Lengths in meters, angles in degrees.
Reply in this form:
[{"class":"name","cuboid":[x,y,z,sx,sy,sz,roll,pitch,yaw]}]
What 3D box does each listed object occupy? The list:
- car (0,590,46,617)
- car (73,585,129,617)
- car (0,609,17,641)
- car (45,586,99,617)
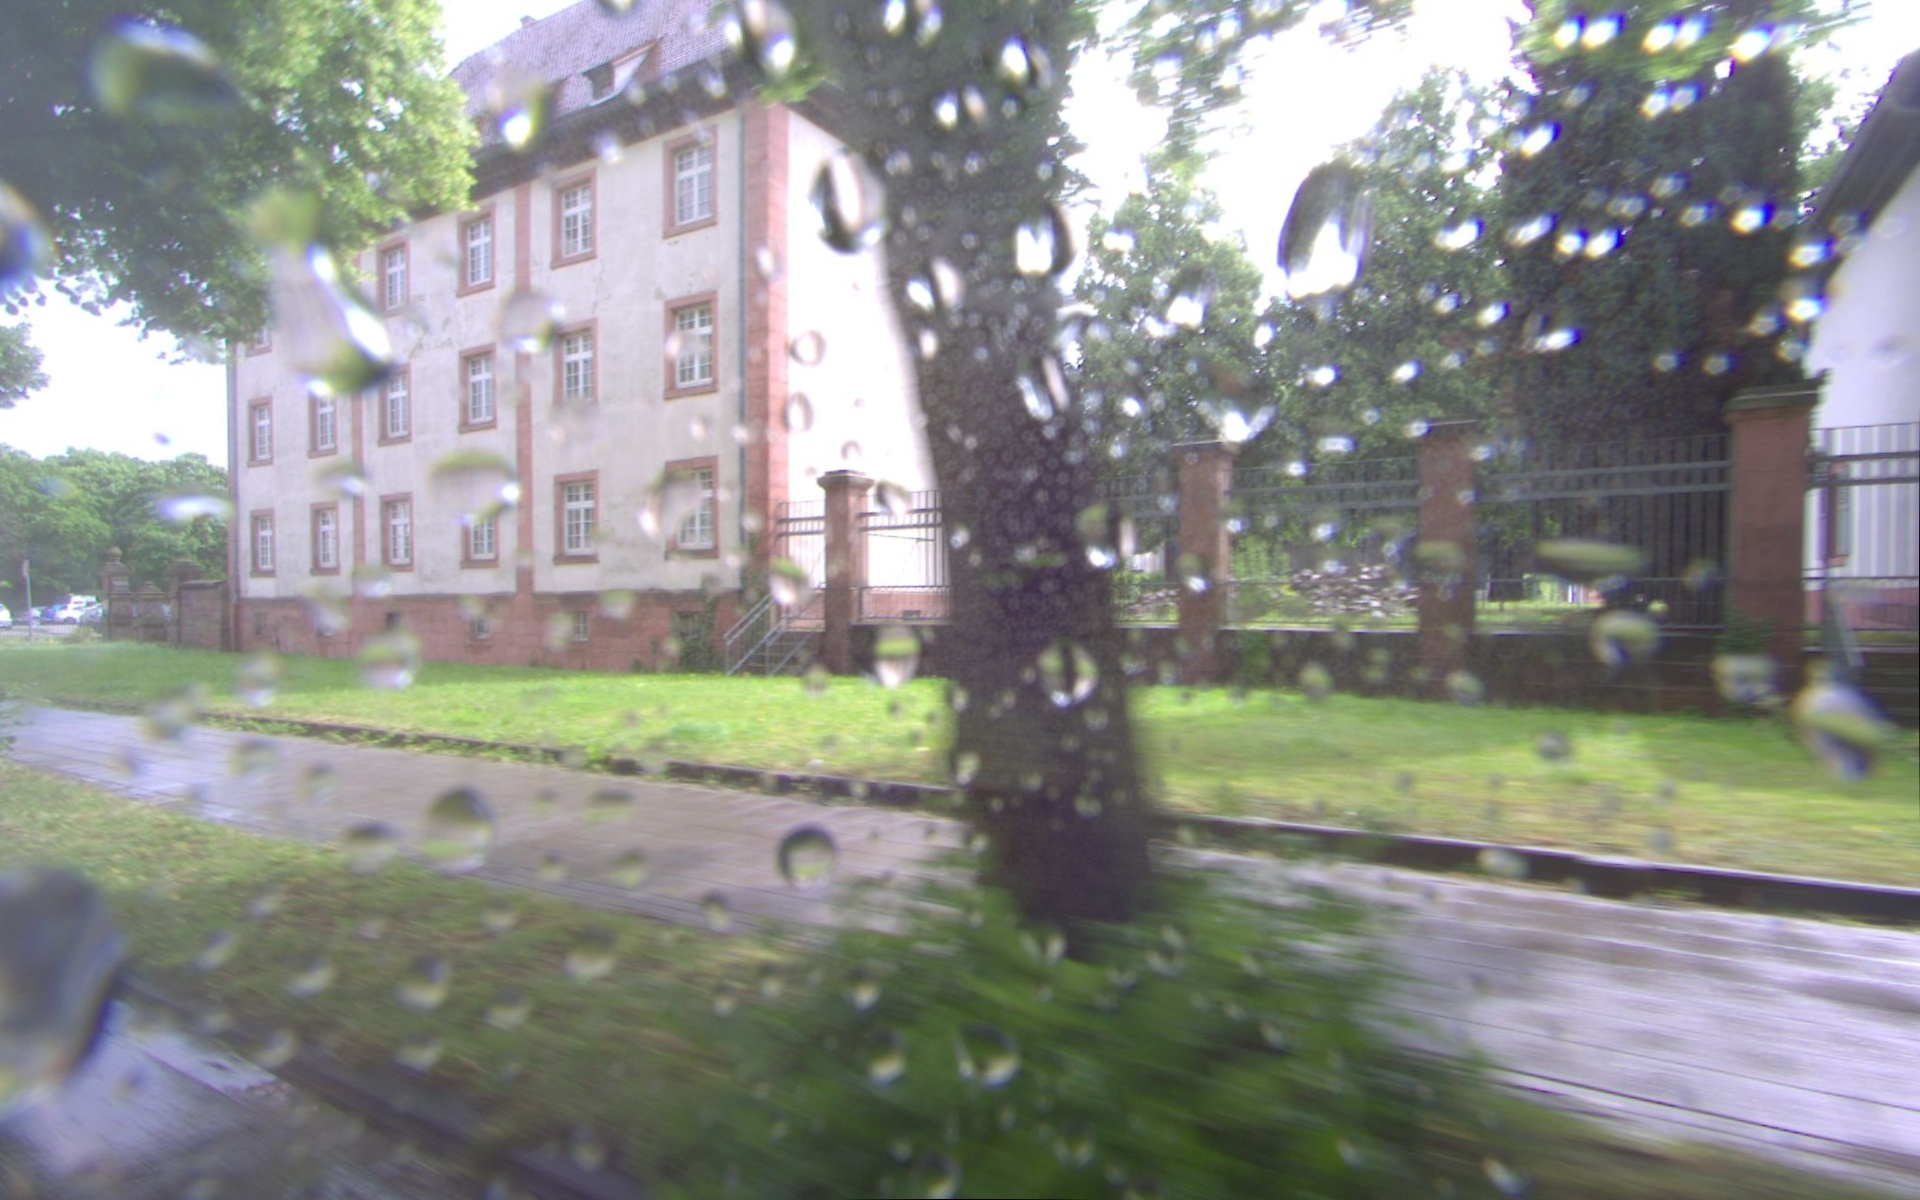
[{"class":"car","cuboid":[-68.732,0.270,73.379,3.760,1.883,1.860,0,3,36]},{"class":"car","cuboid":[-58.832,0.051,68.584,3.948,2.041,1.986,0,3,36]},{"class":"car","cuboid":[-54.819,1.415,56.482,3.822,1.707,1.734,0,3,39]},{"class":"car","cuboid":[-63.205,0.088,71.249,3.948,2.041,1.986,0,3,36]}]
